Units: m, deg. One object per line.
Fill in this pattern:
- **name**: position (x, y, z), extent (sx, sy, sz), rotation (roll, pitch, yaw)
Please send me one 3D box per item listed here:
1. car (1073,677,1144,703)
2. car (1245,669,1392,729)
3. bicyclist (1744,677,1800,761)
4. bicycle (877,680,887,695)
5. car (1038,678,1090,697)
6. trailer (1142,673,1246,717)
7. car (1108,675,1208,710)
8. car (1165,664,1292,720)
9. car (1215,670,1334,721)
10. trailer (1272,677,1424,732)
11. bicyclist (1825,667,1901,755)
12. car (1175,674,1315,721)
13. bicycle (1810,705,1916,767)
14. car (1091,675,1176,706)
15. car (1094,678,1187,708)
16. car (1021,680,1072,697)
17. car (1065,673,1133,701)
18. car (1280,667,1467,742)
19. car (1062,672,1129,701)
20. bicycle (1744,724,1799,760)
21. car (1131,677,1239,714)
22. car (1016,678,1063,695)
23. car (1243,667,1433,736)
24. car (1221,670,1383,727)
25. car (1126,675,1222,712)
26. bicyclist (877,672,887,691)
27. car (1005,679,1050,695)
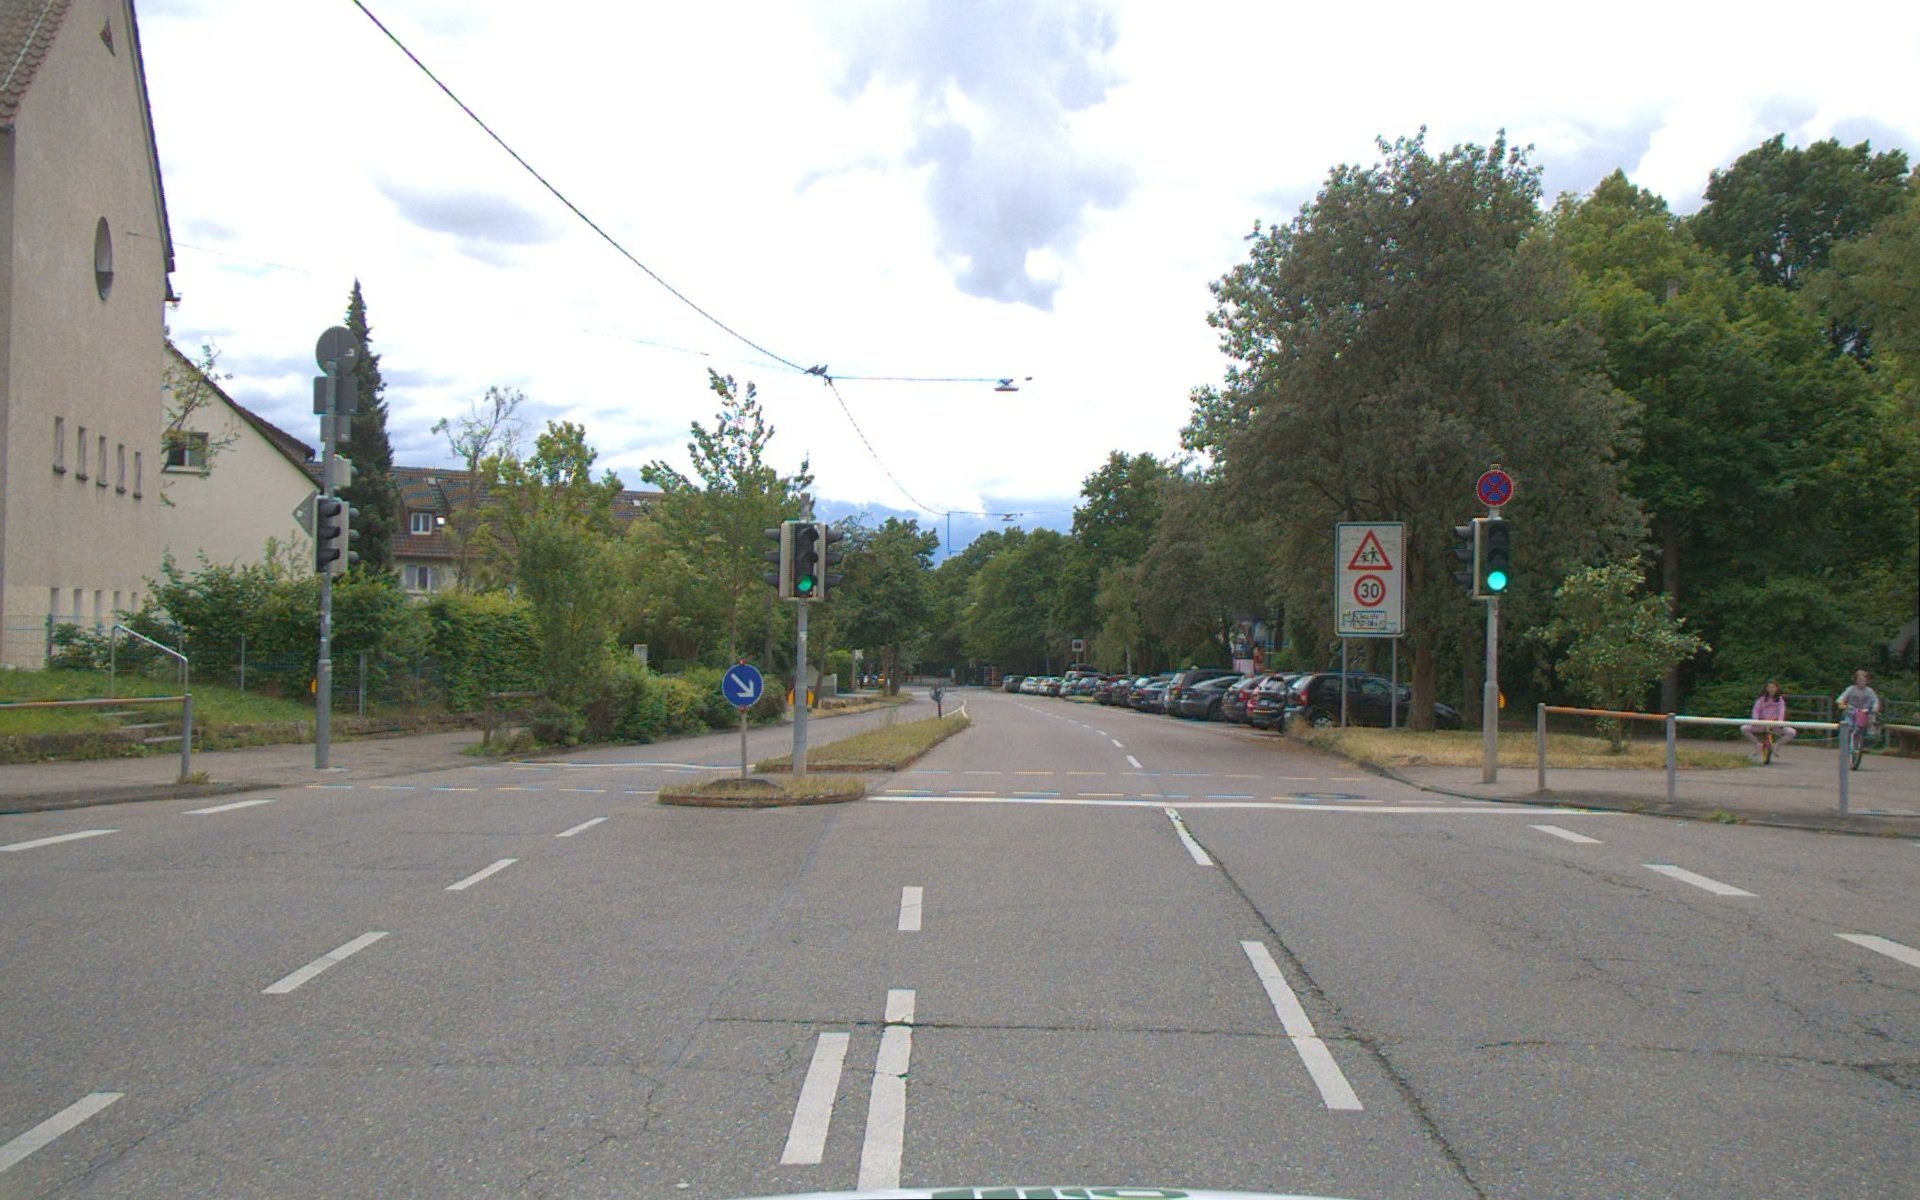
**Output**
- **car**: position (8.932, 5.396, 99.345), extent (3.899, 1.430, 1.749), rotation (3, -3, -15)
- **car**: position (9.436, 2.600, 43.572), extent (3.462, 1.502, 1.587), rotation (2, -3, -12)
- **bicyclist**: position (12.002, 1.759, 24.473), extent (0.507, 1.208, 0.968), rotation (0, -4, 13)
- **bicycle**: position (-7.186, 8.056, 152.136), extent (0.828, 1.288, 2.650), rotation (1, -2, -2)
- **car**: position (8.330, 7.001, 132.269), extent (3.829, 1.475, 1.732), rotation (2, -3, -22)
- **trailer**: position (8.951, 3.621, 63.361), extent (3.623, 1.562, 1.641), rotation (2, -3, -11)
- **car**: position (9.075, 4.245, 75.831), extent (4.271, 1.471, 1.627), rotation (2, -3, -15)
- **car**: position (9.027, 3.102, 55.747), extent (3.912, 1.755, 1.676), rotation (2, -3, -9)
- **car**: position (9.687, 2.955, 51.028), extent (3.265, 1.490, 1.631), rotation (2, -3, -10)
- **trailer**: position (9.664, 2.607, 41.314), extent (3.339, 1.289, 1.612), rotation (2, -4, -10)
- **bicyclist**: position (12.430, 1.523, 22.783), extent (0.626, 1.182, 0.804), rotation (0, -3, 4)
- **car**: position (9.105, 3.123, 52.951), extent (4.085, 1.431, 1.693), rotation (2, -3, -11)
- **bicycle**: position (12.421, 1.859, 22.794), extent (0.626, 0.772, 1.681), rotation (0, -3, 4)
- **car**: position (8.836, 4.588, 84.176), extent (4.015, 1.542, 1.722), rotation (2, -3, -22)
- **car**: position (8.870, 4.563, 81.295), extent (4.239, 1.365, 1.727), rotation (2, -3, -14)
- **car**: position (7.180, 7.321, 136.971), extent (3.834, 1.333, 1.730), rotation (2, -3, -25)
- **car**: position (8.794, 5.495, 104.692), extent (3.932, 1.648, 1.876), rotation (2, -3, -16)
- **car**: position (8.930, 2.250, 35.872), extent (3.641, 1.502, 1.575), rotation (1, -2, -2)
- **car**: position (8.816, 5.641, 107.614), extent (4.037, 1.785, 1.771), rotation (3, -3, -27)
- **bicycle**: position (11.995, 2.100, 24.456), extent (0.507, 0.506, 0.989), rotation (0, -4, 13)
- **car**: position (8.918, 3.793, 65.703), extent (3.962, 1.351, 1.556), rotation (2, -4, -9)
- **car**: position (6.979, 7.599, 145.362), extent (3.827, 1.454, 1.733), rotation (2, -3, -20)
- **car**: position (8.820, 2.369, 38.726), extent (4.061, 1.502, 1.572), rotation (2, -3, -11)
- **car**: position (9.510, 2.743, 46.091), extent (4.141, 1.490, 1.631), rotation (2, -3, -9)
- **car**: position (9.211, 4.013, 71.239), extent (3.772, 1.481, 1.629), rotation (2, -3, -12)
- **bicyclist**: position (-7.177, 7.520, 152.216), extent (0.828, 1.727, 0.713), rotation (1, -2, -2)
- **car**: position (6.368, 8.158, 155.444), extent (3.827, 1.454, 1.733), rotation (2, -3, -20)
